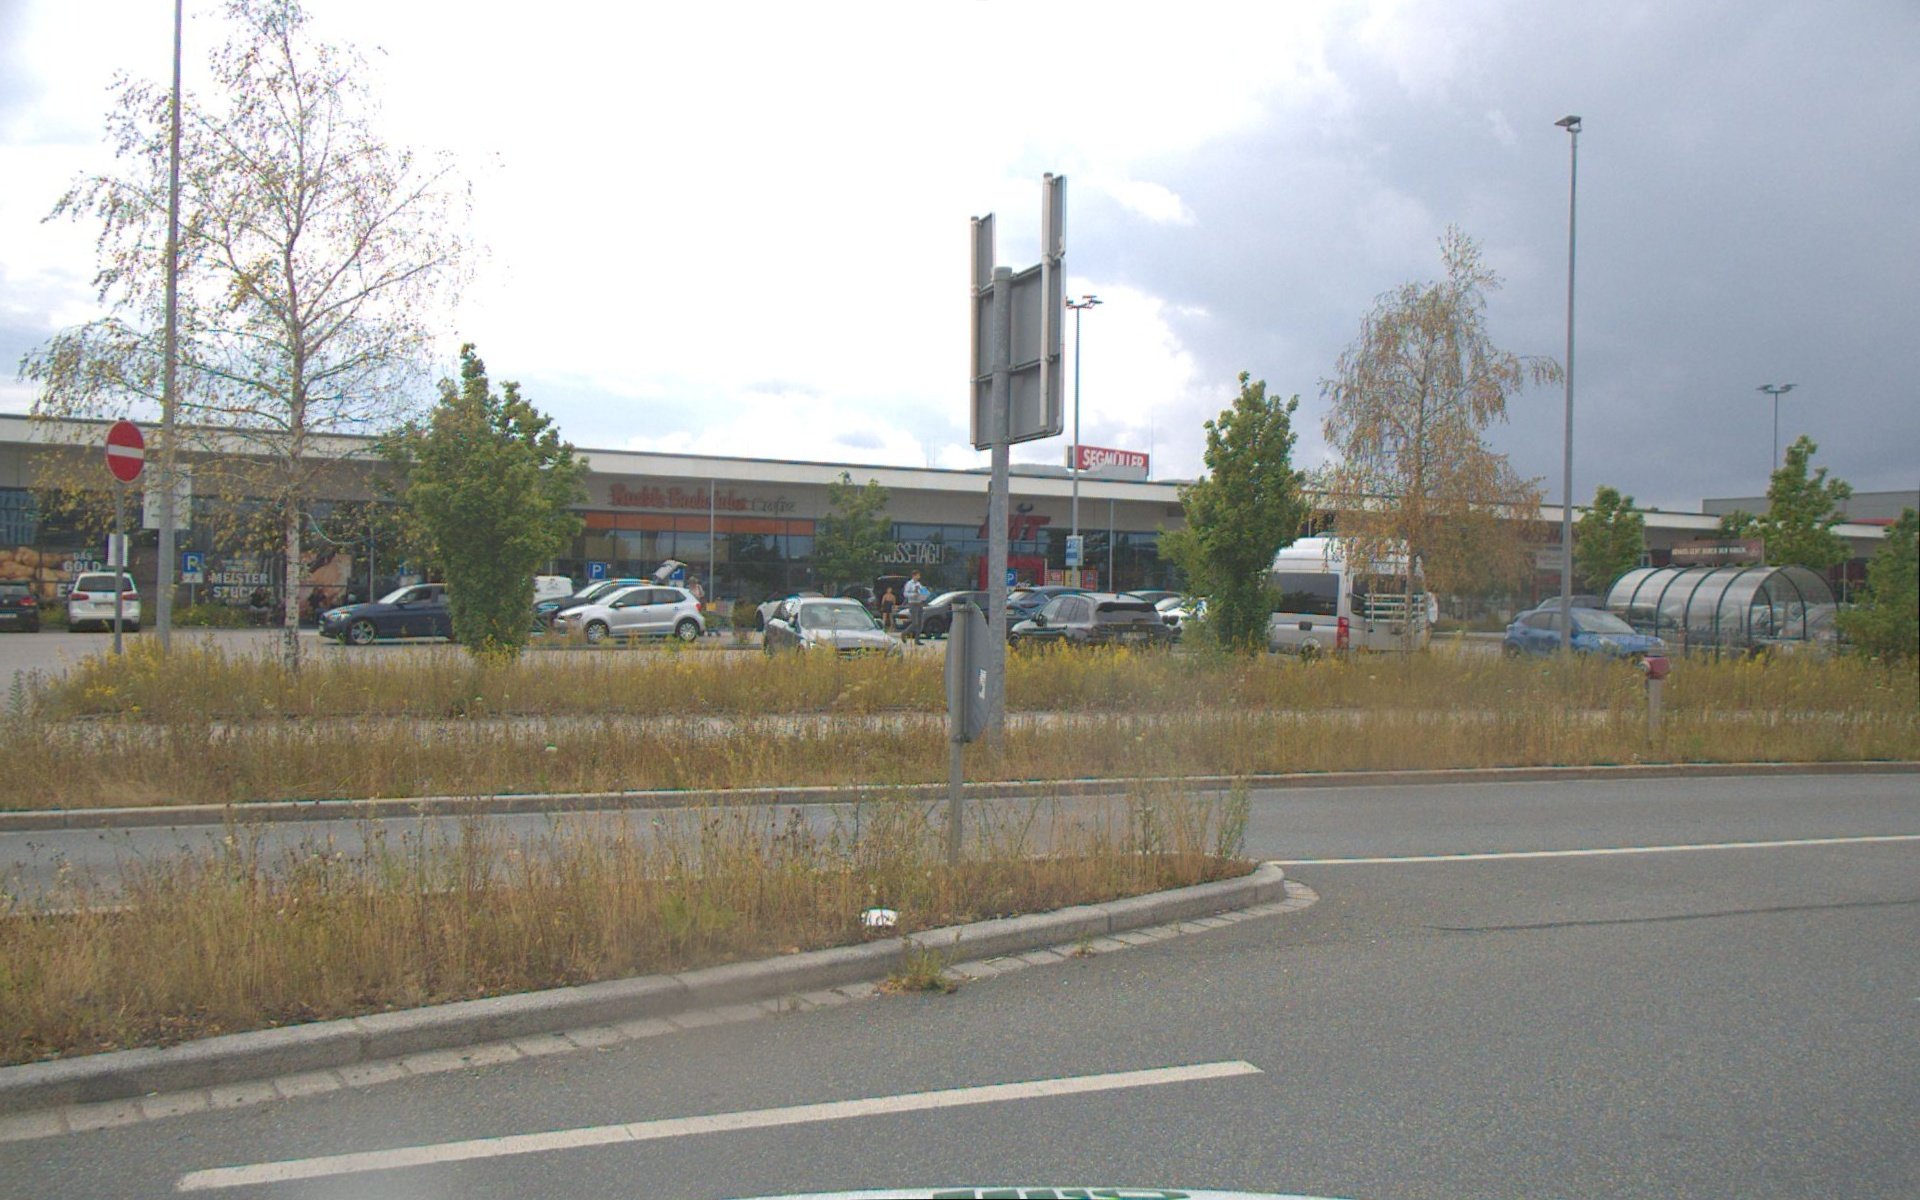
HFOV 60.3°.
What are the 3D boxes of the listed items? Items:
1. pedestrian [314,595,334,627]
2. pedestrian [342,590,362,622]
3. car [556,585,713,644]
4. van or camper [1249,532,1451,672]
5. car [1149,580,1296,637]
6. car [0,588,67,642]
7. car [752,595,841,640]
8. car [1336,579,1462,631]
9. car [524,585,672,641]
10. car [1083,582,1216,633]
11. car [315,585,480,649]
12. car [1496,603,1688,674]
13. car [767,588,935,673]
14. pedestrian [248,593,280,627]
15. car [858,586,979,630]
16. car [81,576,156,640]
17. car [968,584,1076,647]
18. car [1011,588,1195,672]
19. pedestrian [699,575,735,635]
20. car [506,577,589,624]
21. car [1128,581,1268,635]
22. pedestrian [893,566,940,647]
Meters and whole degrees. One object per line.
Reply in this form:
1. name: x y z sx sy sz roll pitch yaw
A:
1. pedestrian: -23.012 0.410 59.845 0.570 1.143 0.556 0 0 -31
2. pedestrian: -21.877 0.214 59.485 0.570 1.143 0.556 0 0 -31
3. car: -8.475 0.365 43.097 3.704 1.479 1.653 0 1 -28
4. van or camper: 7.451 0.049 32.060 2.244 2.536 3.985 1 0 -14
5. car: 7.863 0.245 49.581 3.927 1.646 1.989 0 1 -20
6. car: -26.960 0.411 47.668 1.882 1.469 3.969 0 1 -25
7. car: -5.930 0.609 59.574 1.968 1.534 3.968 0 1 -25
8. car: 16.119 0.205 60.690 4.368 1.851 1.980 1 0 -31
9. car: -9.973 0.333 45.553 3.704 1.479 1.653 0 1 -28
10. car: 6.271 0.240 54.741 3.927 1.646 1.989 0 1 -20
11. car: -13.594 0.390 40.007 3.567 1.479 1.652 0 1 -29
12. car: 13.367 0.772 35.225 1.774 1.408 4.134 1 0 -14
13. car: -2.030 0.516 29.585 1.959 1.408 4.126 1 0 -20
14. pedestrian: -24.959 0.355 59.328 0.960 1.174 1.122 0 1 -29
15. car: -1.489 0.282 59.577 3.939 1.534 1.983 0 1 -27
16. car: -24.819 0.195 48.897 1.801 1.729 4.201 0 1 -25
17. car: 1.721 0.404 47.124 1.787 1.682 3.978 0 1 -19
18. car: 2.626 0.531 31.387 1.959 1.476 4.126 1 0 -20
19. pedestrian: -6.864 0.136 46.721 0.810 1.660 0.893 1 0 -23
20. car: -13.800 -0.008 55.249 1.968 1.534 3.968 0 1 -25
21. car: 7.489 0.247 52.182 3.927 1.646 1.989 0 1 -20
22. pedestrian: -1.130 0.166 42.729 0.985 2.049 0.863 0 0 -20
